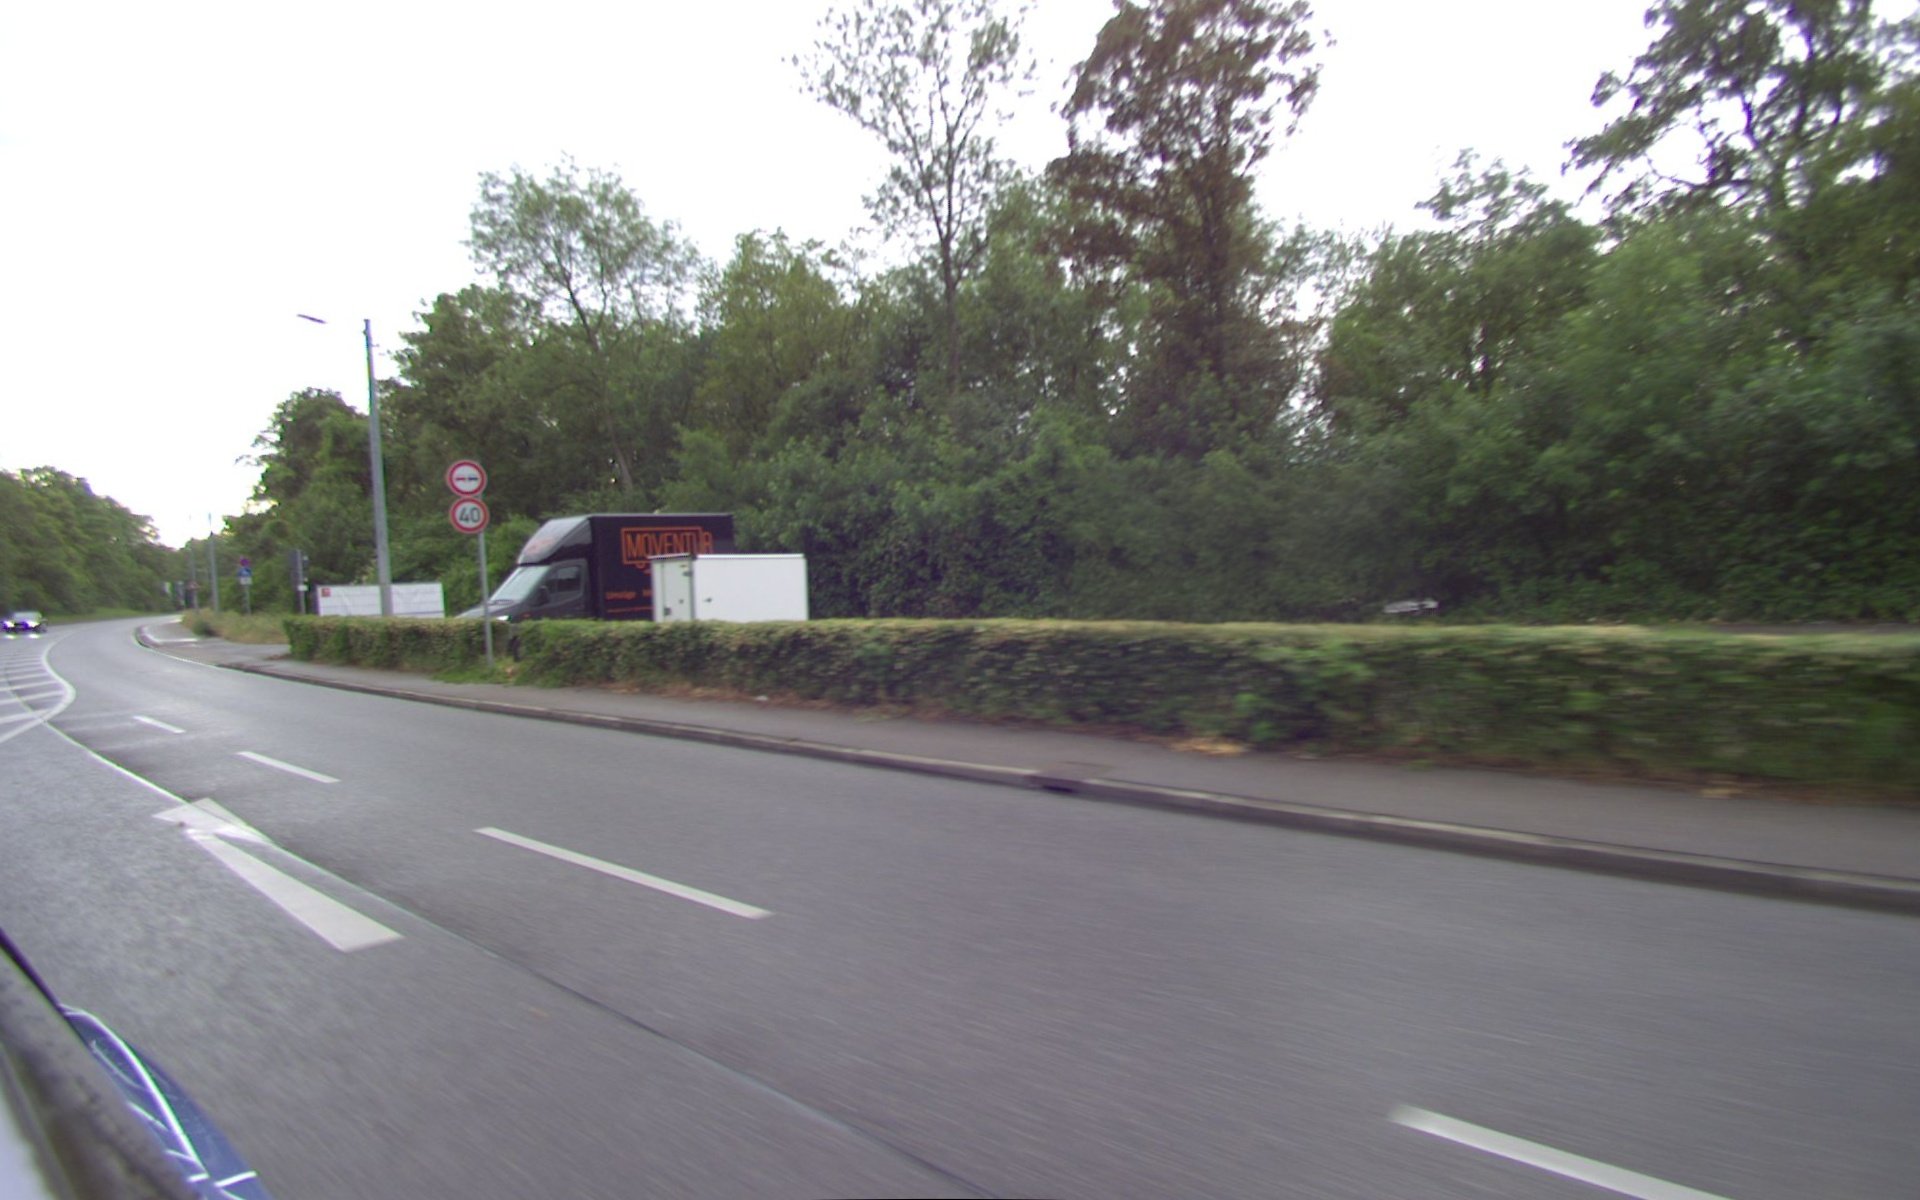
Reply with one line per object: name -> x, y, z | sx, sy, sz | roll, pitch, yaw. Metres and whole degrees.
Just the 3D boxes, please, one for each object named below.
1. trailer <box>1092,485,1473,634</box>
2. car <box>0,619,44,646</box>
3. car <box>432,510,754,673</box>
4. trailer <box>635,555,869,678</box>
trailer -> 7.083, -0.751, 23.174 | 7.970, 2.895, 2.451 | -1, 0, 40
car -> -64.263, 2.213, 69.304 | 1.968, 1.696, 4.008 | -1, 0, -38
car -> -7.979, -0.254, 22.667 | 2.750, 3.136, 6.210 | 0, 2, 40
trailer -> -3.833, 0.251, 19.123 | 1.873, 2.068, 3.944 | -1, 0, 43
